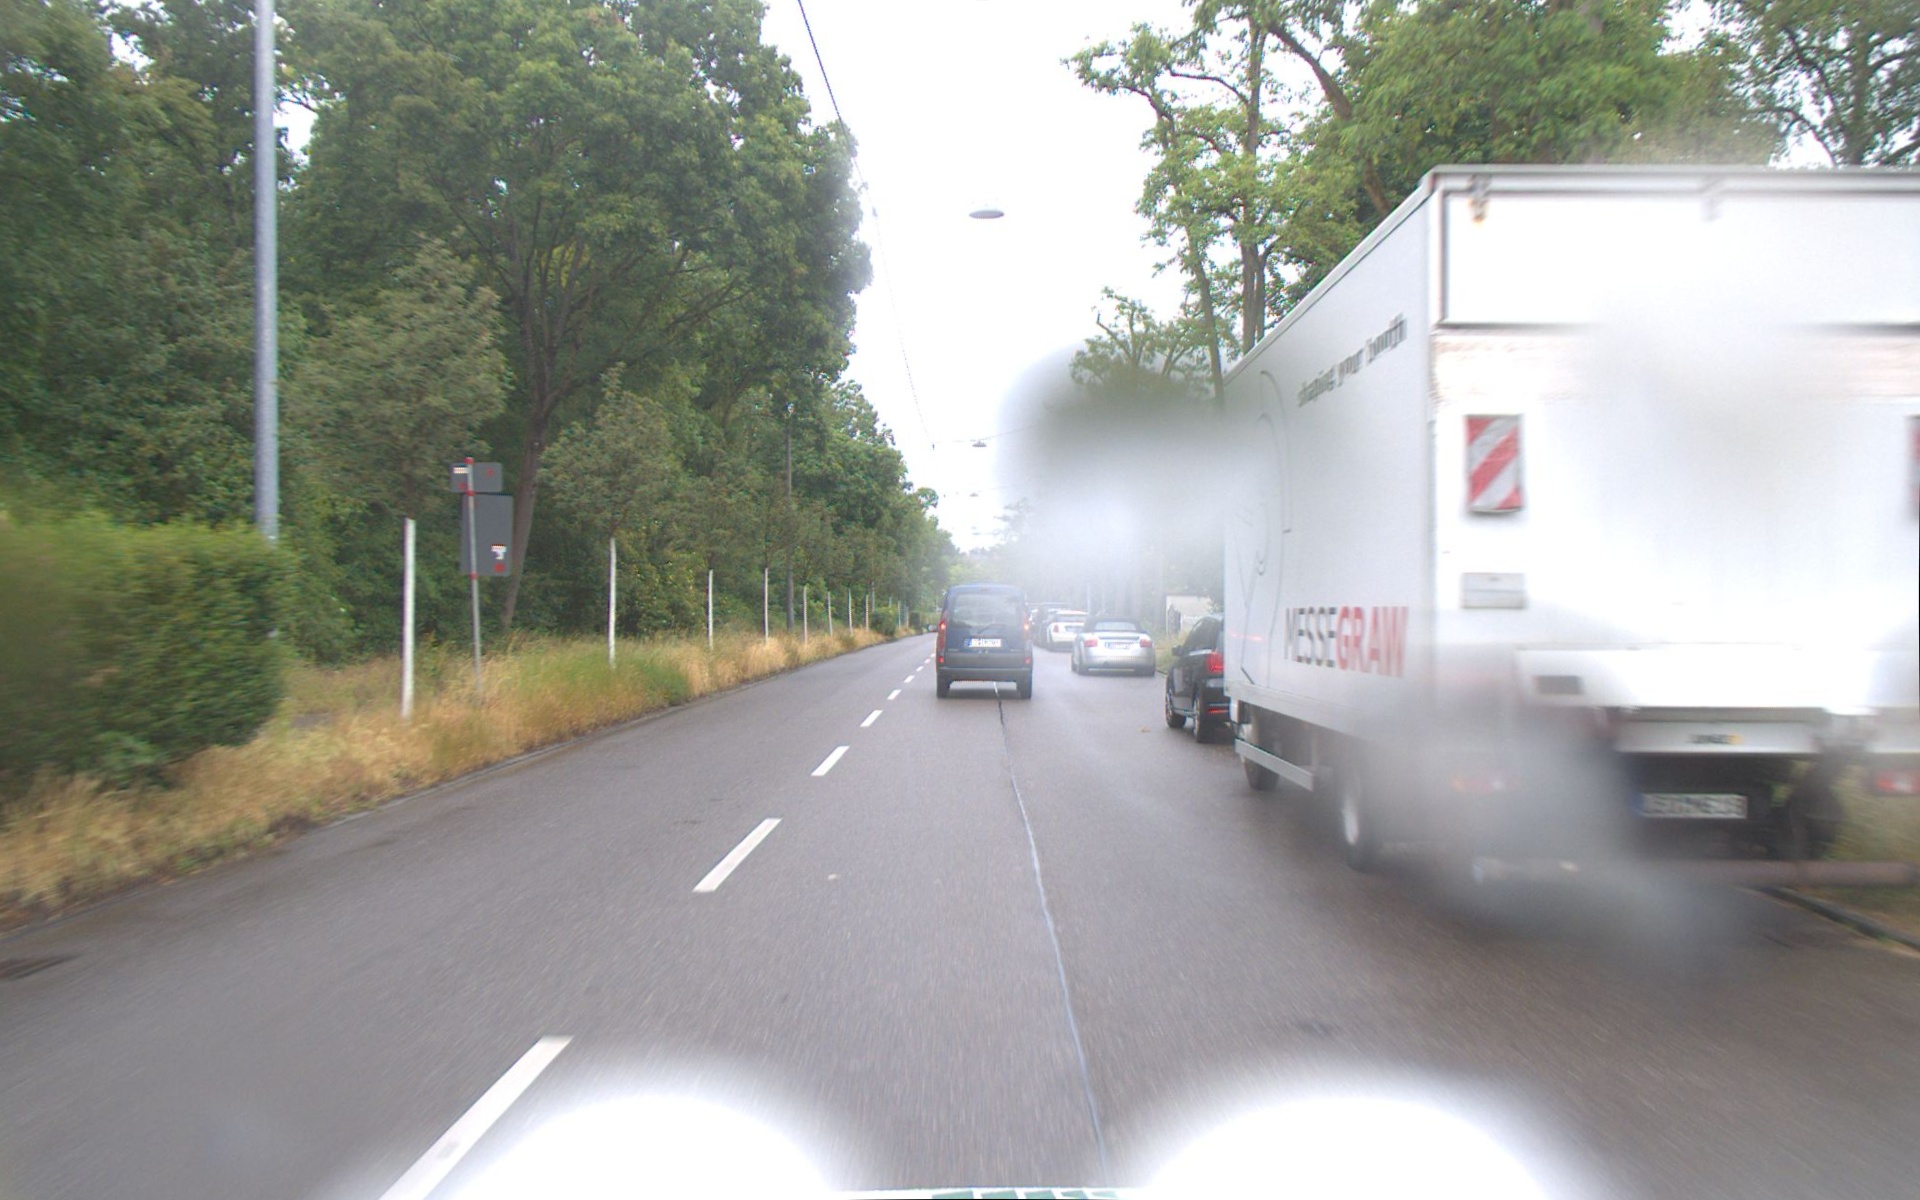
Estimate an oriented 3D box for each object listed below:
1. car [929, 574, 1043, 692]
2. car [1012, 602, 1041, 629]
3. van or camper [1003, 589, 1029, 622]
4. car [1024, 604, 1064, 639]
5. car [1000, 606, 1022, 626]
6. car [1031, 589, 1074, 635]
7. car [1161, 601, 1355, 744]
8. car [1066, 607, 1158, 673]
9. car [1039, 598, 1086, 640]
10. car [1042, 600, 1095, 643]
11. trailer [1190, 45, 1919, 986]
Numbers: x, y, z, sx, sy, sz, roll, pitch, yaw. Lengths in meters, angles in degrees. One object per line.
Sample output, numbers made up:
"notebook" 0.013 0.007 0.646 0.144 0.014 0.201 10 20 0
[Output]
"car" 0.384 0.533 28.233 1.731 1.862 3.540 1 0 -2
"car" 4.729 1.075 118.623 1.777 1.845 4.282 2 0 -1
"van or camper" 4.724 0.428 139.391 2.036 2.697 5.346 1 0 1
"car" 4.142 1.046 82.329 1.767 1.641 4.286 1 0 0
"car" 4.079 1.278 131.871 1.591 1.489 3.809 1 0 4
"car" 3.993 0.501 71.812 1.694 1.879 4.230 1 0 1
"car" 3.433 0.778 19.712 1.607 1.489 4.000 1 0 1
"car" 3.503 0.905 38.768 1.745 1.420 4.000 1 0 0
"car" 4.019 0.720 65.358 1.644 1.583 4.076 1 0 1
"car" 3.916 0.772 60.296 1.702 1.490 3.725 1 0 1
"trailer" 3.367 -0.322 10.451 2.678 3.569 8.247 1 0 0
